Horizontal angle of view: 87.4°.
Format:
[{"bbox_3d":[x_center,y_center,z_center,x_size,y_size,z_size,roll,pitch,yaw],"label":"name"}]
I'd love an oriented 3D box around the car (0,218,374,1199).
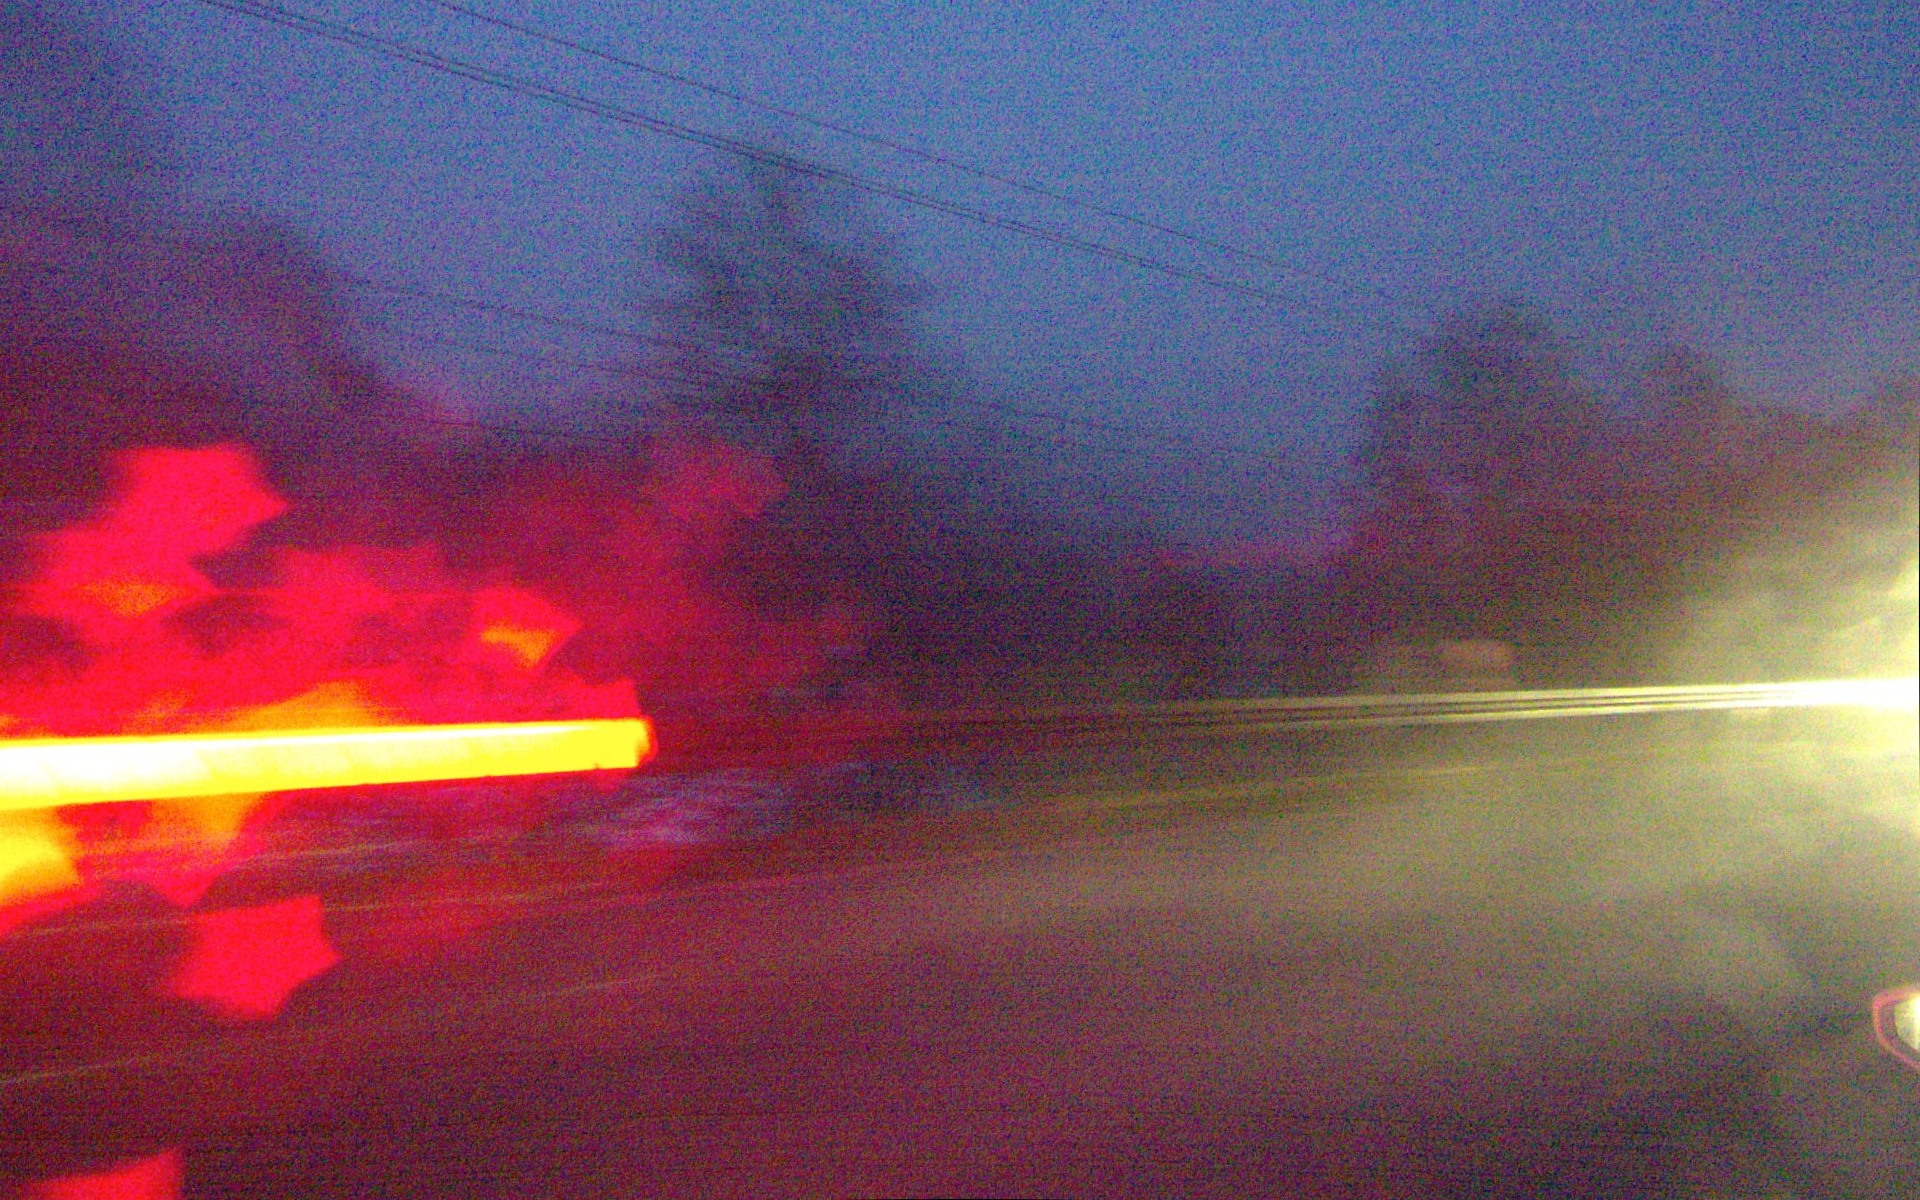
[{"bbox_3d":[-3.212,0.371,1.525,3.953,1.966,1.846,1,0,-30],"label":"car"}]
